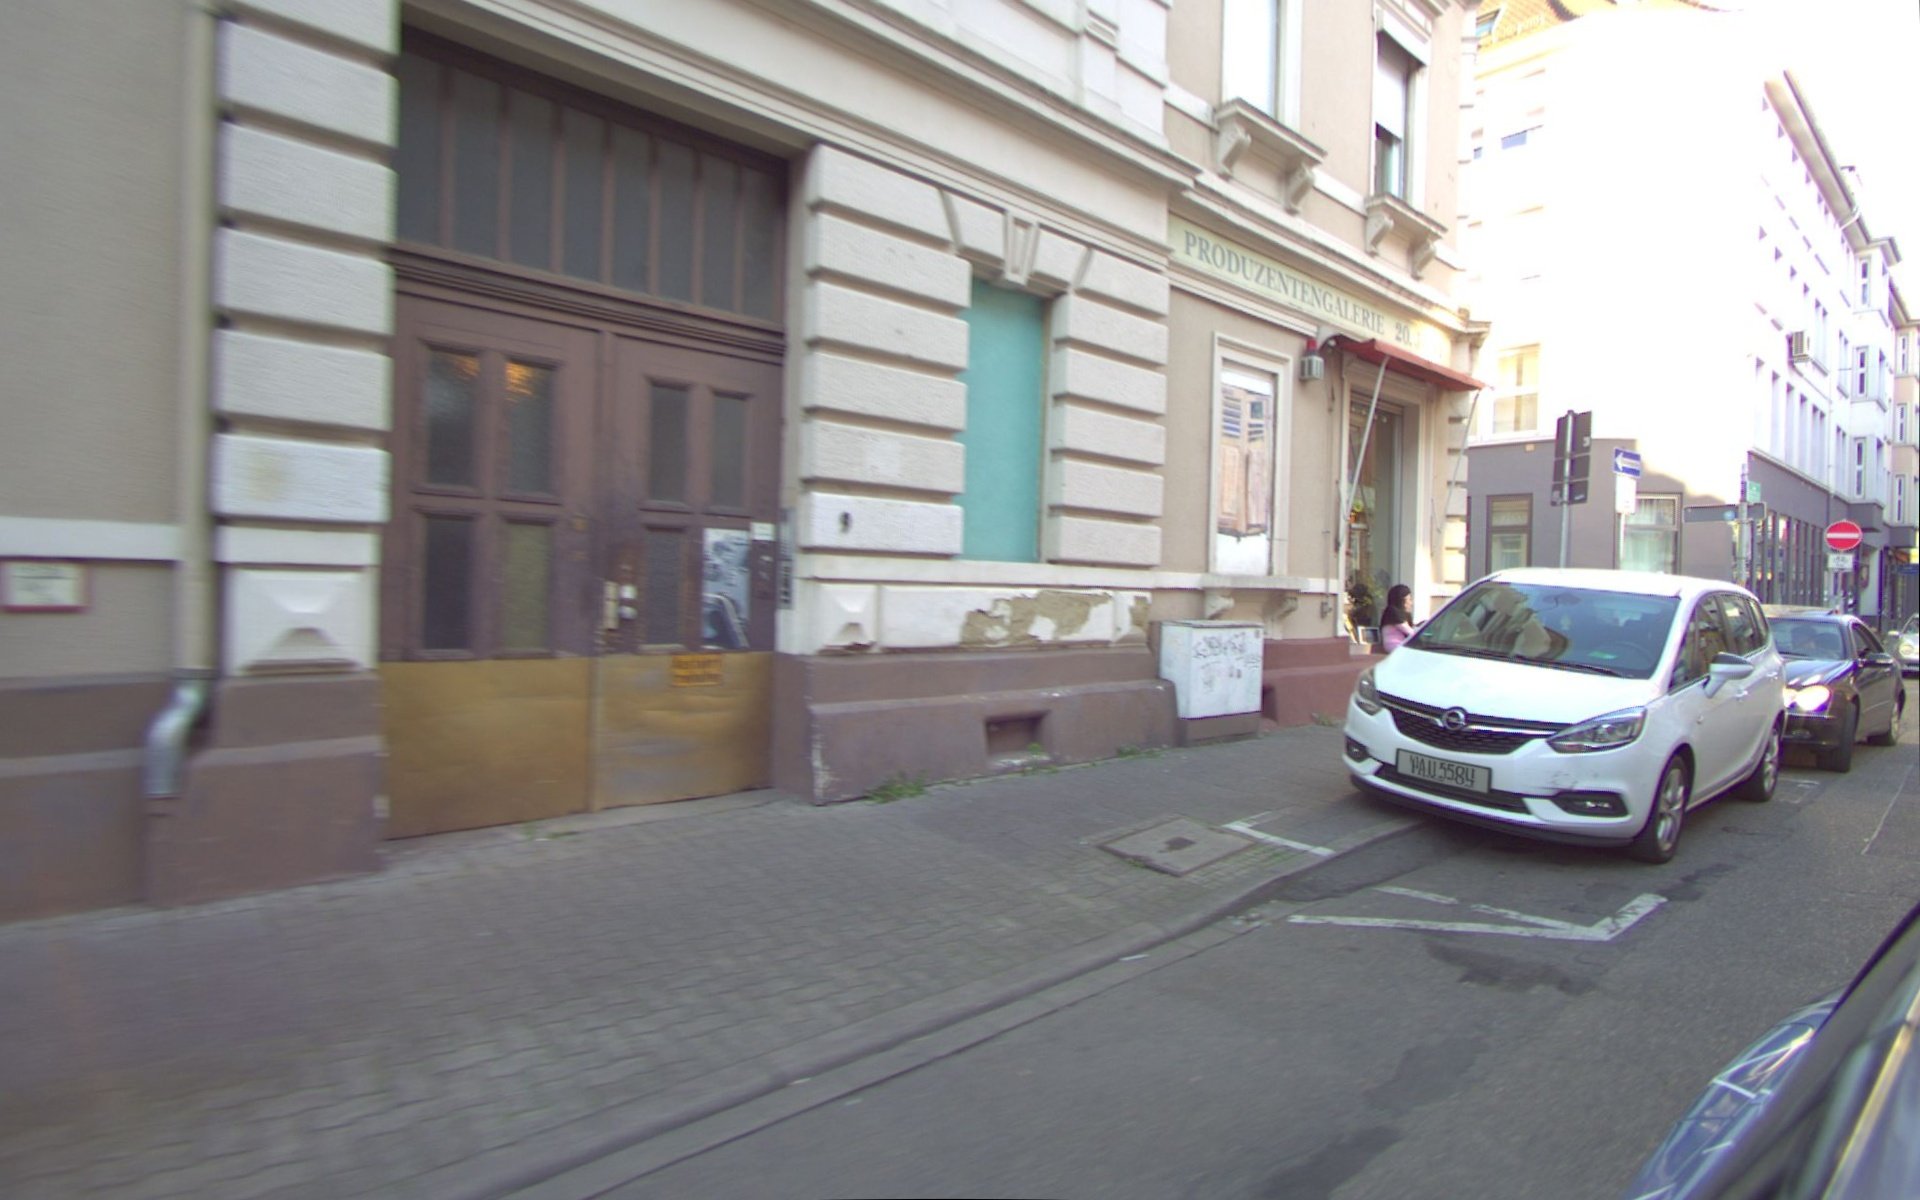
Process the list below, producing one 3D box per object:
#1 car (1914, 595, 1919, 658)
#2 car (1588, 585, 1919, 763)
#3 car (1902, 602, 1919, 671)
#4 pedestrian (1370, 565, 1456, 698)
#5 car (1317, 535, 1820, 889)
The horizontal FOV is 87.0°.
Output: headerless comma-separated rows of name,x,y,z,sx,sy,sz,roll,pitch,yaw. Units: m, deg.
car,25.684,0.693,25.522,4.046,1.544,2.011,1,1,-42
car,8.448,0.621,10.486,4.644,1.426,1.888,1,1,-39
car,21.656,0.768,21.814,4.414,1.420,1.752,1,0,-44
pedestrian,5.282,0.344,11.812,0.570,1.490,0.716,1,1,-41
car,4.492,0.551,7.147,4.384,1.745,1.820,1,1,-42
